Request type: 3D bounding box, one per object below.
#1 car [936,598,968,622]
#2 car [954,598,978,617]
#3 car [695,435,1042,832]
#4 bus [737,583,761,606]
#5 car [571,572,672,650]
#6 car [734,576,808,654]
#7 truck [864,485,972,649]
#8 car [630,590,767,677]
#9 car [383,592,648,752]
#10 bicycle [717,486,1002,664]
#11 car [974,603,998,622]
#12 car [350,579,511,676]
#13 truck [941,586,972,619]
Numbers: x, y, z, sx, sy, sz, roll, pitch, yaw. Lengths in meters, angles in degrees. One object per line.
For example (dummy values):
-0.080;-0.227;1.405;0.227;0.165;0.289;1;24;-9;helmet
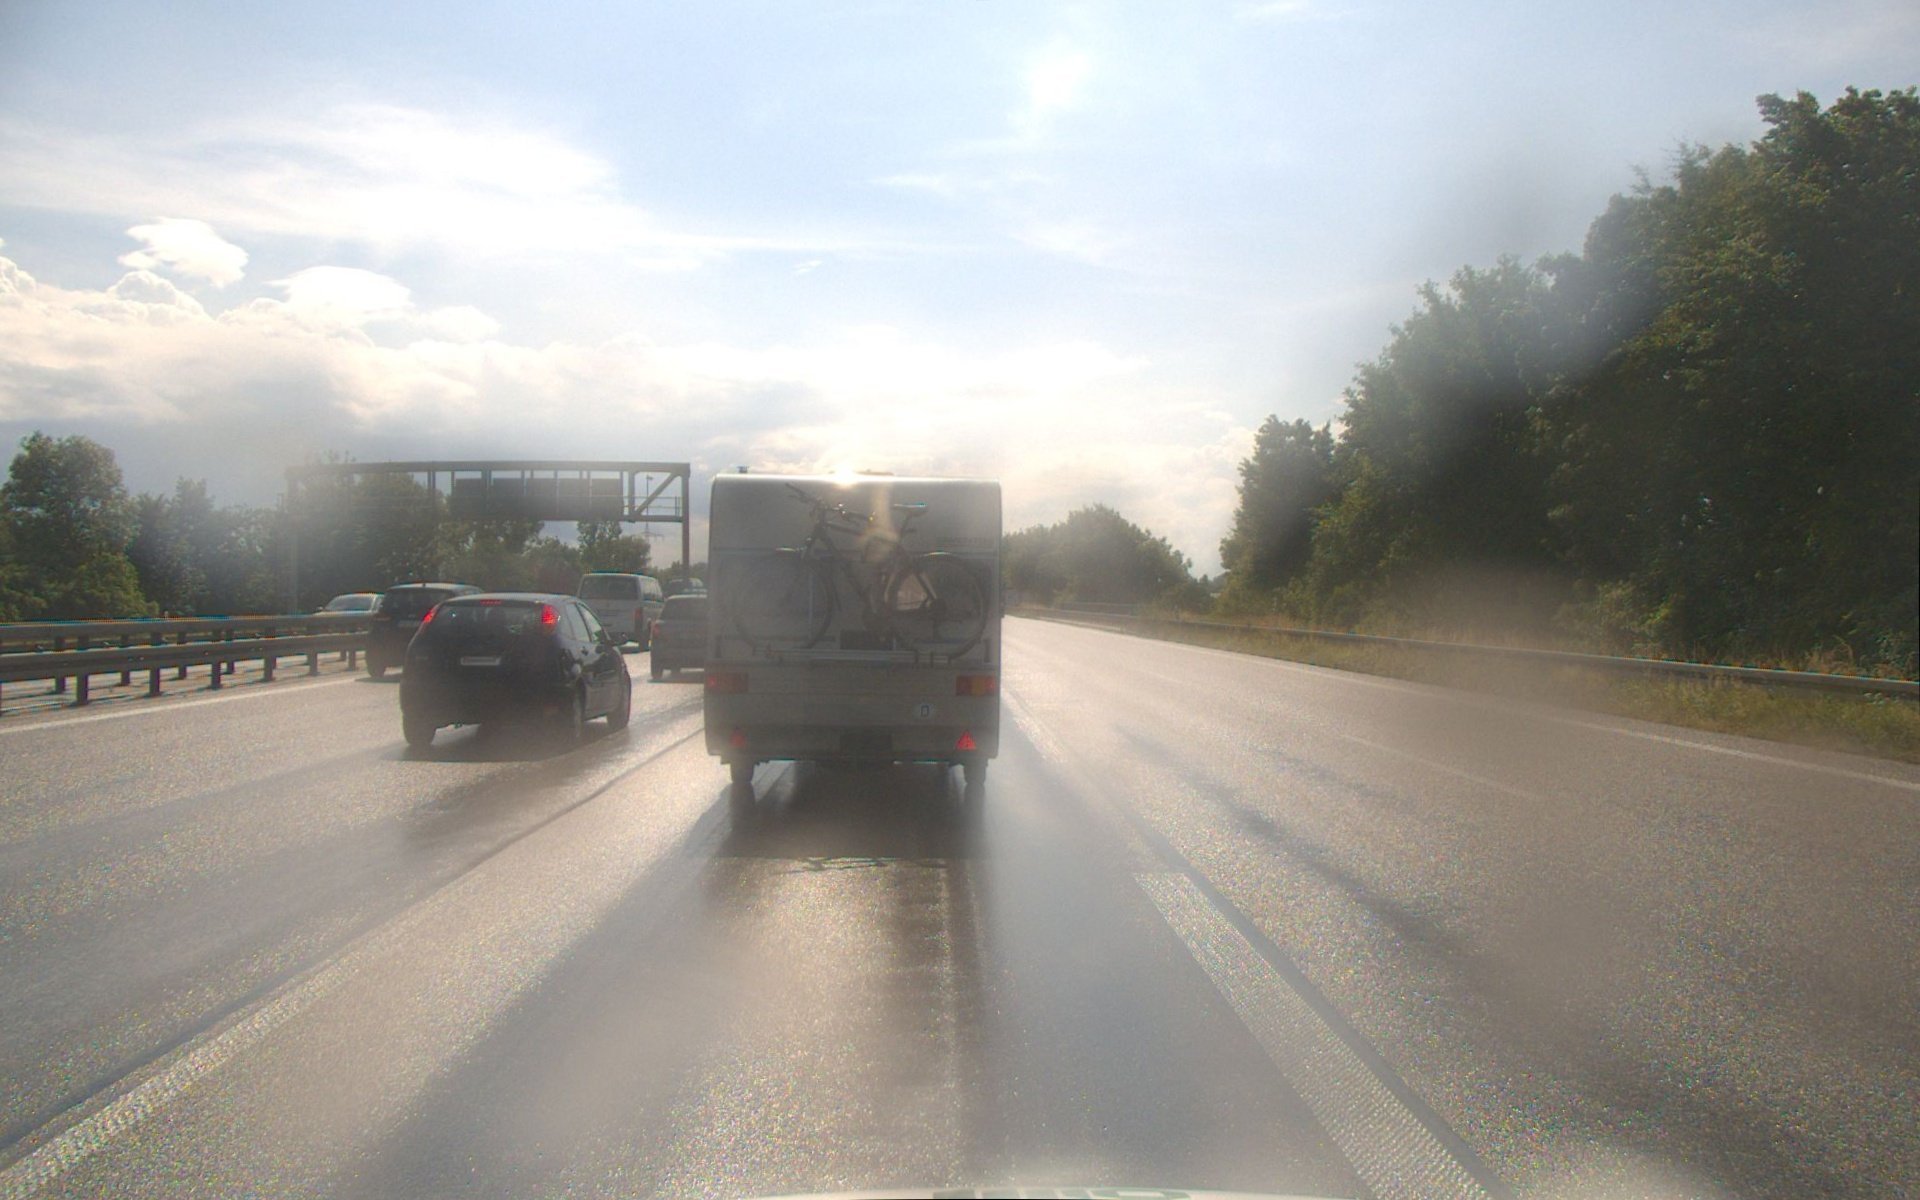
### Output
-0.569;0.672;111.857;1.800;1.585;3.996;1;0;-5;car
0.553;0.671;153.142;1.840;1.657;3.996;1;0;-5;car
-0.651;0.239;13.489;2.361;2.721;3.999;1;0;-1;car
-32.159;-0.834;252.476;2.881;3.343;12.203;1;0;-3;bus
-9.019;0.275;44.396;1.810;1.967;5.014;1;0;-2;car
-5.246;0.401;46.329;1.839;2.049;3.997;1;0;-4;car
-1.421;-0.950;52.927;3.083;4.707;10.730;1;0;-2;truck
-4.778;0.577;30.715;1.947;1.483;3.826;1;0;-1;car
-4.502;0.658;17.365;1.723;1.468;3.999;1;0;-1;car
-0.672;-0.167;11.295;1.894;1.161;0.384;1;0;0;bicycle
2.118;0.995;135.353;1.838;1.521;3.999;1;0;-1;car
-9.375;0.457;29.578;1.747;1.606;3.914;1;0;-3;car
-0.301;0.188;131.091;2.366;2.486;6.052;1;0;-1;truck
